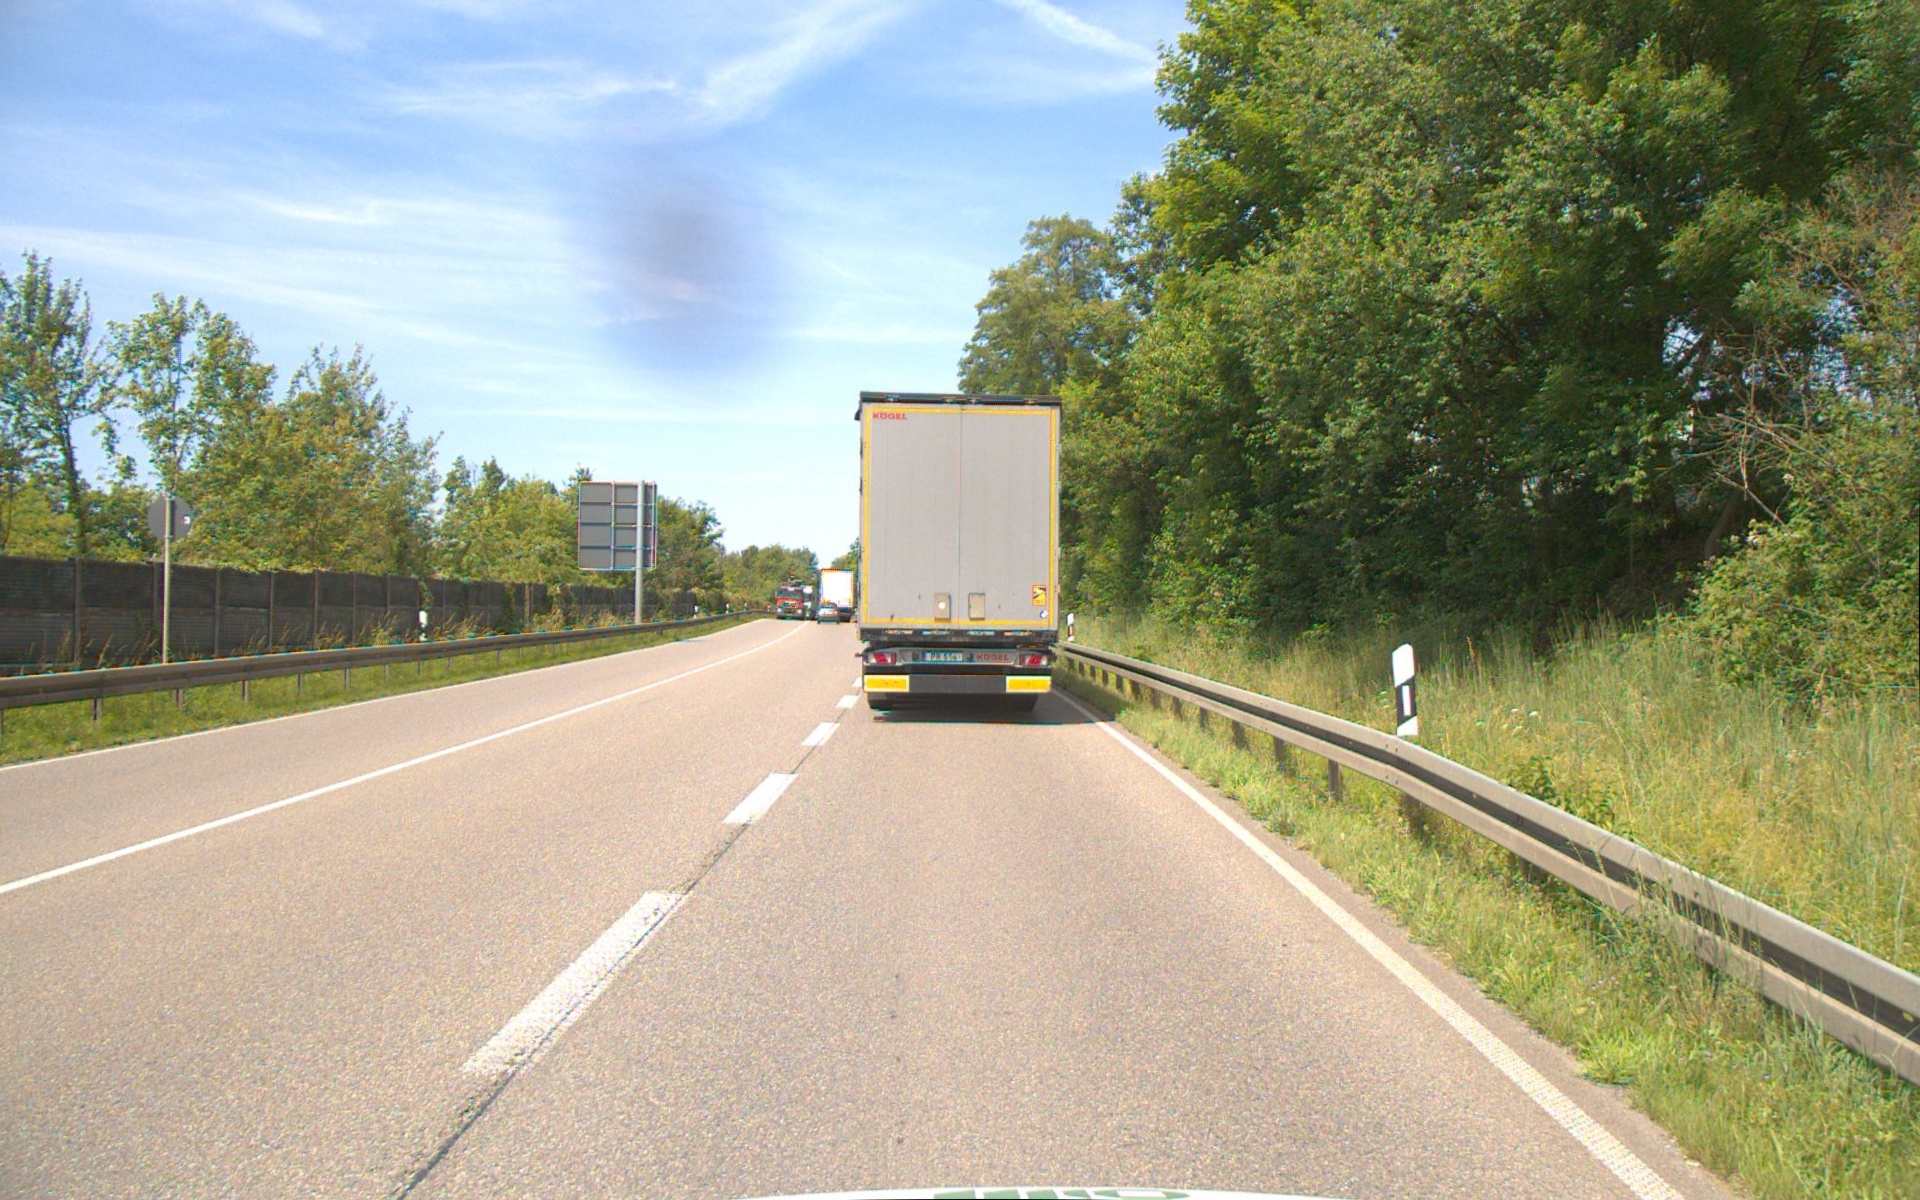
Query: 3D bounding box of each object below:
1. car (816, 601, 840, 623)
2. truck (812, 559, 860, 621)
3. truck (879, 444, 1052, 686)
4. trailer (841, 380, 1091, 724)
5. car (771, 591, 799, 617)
[{"bbox_3d":[-9.387,0.863,117.404,1.633,1.512,3.996,1,0,-5],"label":"car"},{"bbox_3d":[-10.268,-0.708,137.410,3.753,4.827,16.189,0,0,-4],"label":"truck"},{"bbox_3d":[0.131,-0.584,33.044,3.088,4.299,7.122,0,-1,0],"label":"truck"},{"bbox_3d":[0.102,-0.542,26.530,2.965,4.105,13.351,1,0,0],"label":"trailer"},{"bbox_3d":[-16.938,0.406,159.947,2.566,2.465,5.820,-1,0,-7],"label":"car"}]
